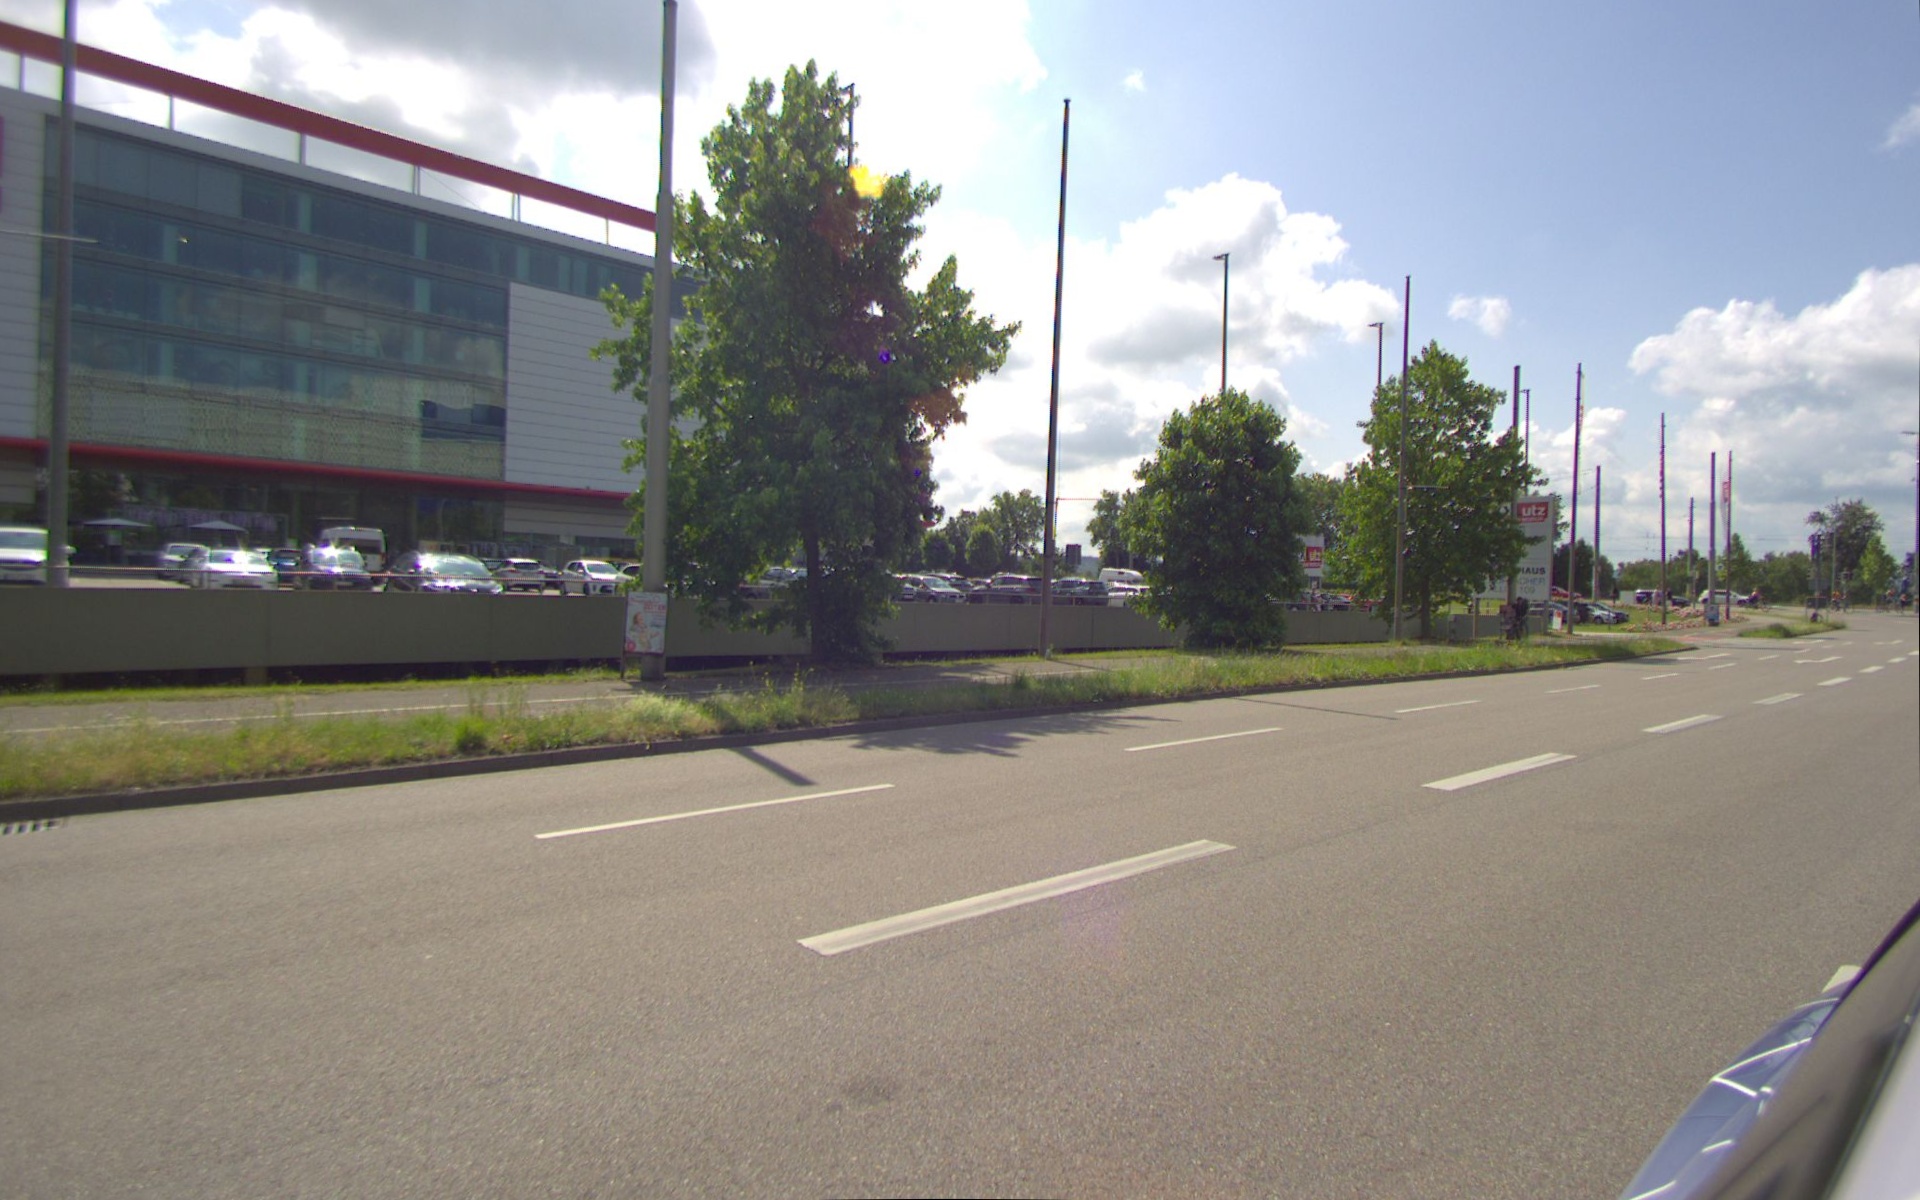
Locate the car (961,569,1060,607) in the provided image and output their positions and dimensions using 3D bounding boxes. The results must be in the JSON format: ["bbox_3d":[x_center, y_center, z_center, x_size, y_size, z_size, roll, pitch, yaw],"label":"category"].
[{"bbox_3d":[2.267,-0.576,46.593,1.996,1.594,4.365,1,1,-43],"label":"car"}]

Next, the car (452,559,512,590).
[{"bbox_3d":[-23.938,-1.249,50.622,1.601,1.438,3.993,1,-1,-42],"label":"car"}]

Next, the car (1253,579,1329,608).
[{"bbox_3d":[19.691,-0.415,60.297,1.666,1.608,4.020,2,-1,-43],"label":"car"}]

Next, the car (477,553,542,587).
[{"bbox_3d":[-20.684,-1.329,46.417,1.601,1.438,3.993,1,-1,-42],"label":"car"}]

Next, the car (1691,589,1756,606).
[{"bbox_3d":[69.537,-0.244,92.199,1.981,1.430,4.486,0,1,-44],"label":"car"}]

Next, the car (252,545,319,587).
[{"bbox_3d":[-26.729,-1.315,40.056,1.713,1.535,3.801,1,-1,-41],"label":"car"}]

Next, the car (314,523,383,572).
[{"bbox_3d":[-27.567,-2.293,45.559,1.965,1.976,3.993,1,-1,-41],"label":"car"}]

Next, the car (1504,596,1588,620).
[{"bbox_3d":[37.859,0.504,65.420,1.824,1.495,4.367,0,0,-40],"label":"car"}]

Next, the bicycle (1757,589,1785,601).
[{"bbox_3d":[65.720,-0.419,82.013,1.665,0.973,0.665,1,-1,2],"label":"bicycle"}]

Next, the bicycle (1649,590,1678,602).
[{"bbox_3d":[58.829,-0.354,84.616,1.974,0.973,0.589,1,-1,35],"label":"bicycle"}]

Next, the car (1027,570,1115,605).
[{"bbox_3d":[5.483,-0.656,50.291,1.735,1.572,4.188,1,1,-43],"label":"car"}]

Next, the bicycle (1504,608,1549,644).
[{"bbox_3d":[17.817,0.815,31.834,1.933,1.081,0.624,1,1,-42],"label":"bicycle"}]

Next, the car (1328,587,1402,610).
[{"bbox_3d":[27.716,-0.097,69.401,1.813,1.379,4.369,2,1,-40],"label":"car"}]

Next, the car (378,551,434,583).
[{"bbox_3d":[-26.559,-1.554,48.476,1.601,1.438,3.572,1,-1,-42],"label":"car"}]

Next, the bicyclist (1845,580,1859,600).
[{"bbox_3d":[70.808,-0.805,80.325,0.690,1.555,0.615,0,-1,27],"label":"bicyclist"}]

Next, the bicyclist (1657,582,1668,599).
[{"bbox_3d":[58.774,-0.802,84.661,0.683,1.342,0.585,0,-1,34],"label":"bicyclist"}]

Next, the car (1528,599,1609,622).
[{"bbox_3d":[41.258,0.659,68.653,1.824,1.434,4.366,0,1,-41],"label":"car"}]

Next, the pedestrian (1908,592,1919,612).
[{"bbox_3d":[72.553,0.134,76.919,0.460,1.543,0.586,0,-1,-33],"label":"pedestrian"}]

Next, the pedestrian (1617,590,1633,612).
[{"bbox_3d":[55.838,0.073,84.996,0.744,1.825,0.823,0,0,-15],"label":"pedestrian"}]

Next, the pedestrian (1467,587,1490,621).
[{"bbox_3d":[28.007,0.215,54.631,0.856,1.805,0.783,1,-1,5],"label":"pedestrian"}]

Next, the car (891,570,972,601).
[{"bbox_3d":[-1.475,-0.724,50.702,1.730,1.483,4.244,1,-1,-43],"label":"car"}]

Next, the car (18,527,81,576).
[{"bbox_3d":[-35.782,-1.864,39.813,1.719,1.727,3.747,1,-1,-42],"label":"car"}]

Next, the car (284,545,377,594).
[{"bbox_3d":[-20.624,-1.008,33.100,1.860,1.452,4.190,1,1,-42],"label":"car"}]

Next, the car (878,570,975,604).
[{"bbox_3d":[-1.501,-0.581,43.900,1.735,1.341,4.365,1,1,-43],"label":"car"}]

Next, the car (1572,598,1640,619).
[{"bbox_3d":[48.213,0.633,75.535,1.687,1.436,3.991,0,1,-43],"label":"car"}]

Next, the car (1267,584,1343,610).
[{"bbox_3d":[22.014,-0.194,64.691,1.597,1.460,4.369,2,1,-40],"label":"car"}]

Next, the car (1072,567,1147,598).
[{"bbox_3d":[15.622,-1.874,106.260,3.066,3.193,7.899,0,1,-39],"label":"car"}]

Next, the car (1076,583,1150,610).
[{"bbox_3d":[9.217,-0.220,61.245,1.728,1.446,4.297,3,-1,-41],"label":"car"}]

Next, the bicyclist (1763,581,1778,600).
[{"bbox_3d":[65.706,-0.747,82.024,0.729,1.494,0.651,1,-1,1],"label":"bicyclist"}]

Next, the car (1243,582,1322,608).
[{"bbox_3d":[20.058,-0.313,63.042,1.813,1.379,4.369,2,1,-40],"label":"car"}]

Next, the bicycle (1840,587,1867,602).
[{"bbox_3d":[70.860,-0.433,80.291,1.491,1.180,0.615,1,-1,28],"label":"bicycle"}]

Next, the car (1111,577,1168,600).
[{"bbox_3d":[13.832,-0.910,78.127,1.964,1.760,3.996,0,1,-39],"label":"car"}]

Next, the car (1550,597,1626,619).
[{"bbox_3d":[44.897,0.544,72.415,1.765,1.458,4.366,0,1,-41],"label":"car"}]

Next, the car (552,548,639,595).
[{"bbox_3d":[-14.618,-1.101,40.438,1.965,1.742,3.994,1,-1,-41],"label":"car"}]

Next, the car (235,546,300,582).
[{"bbox_3d":[-30.173,-1.532,44.030,1.877,1.452,3.801,1,-1,-41],"label":"car"}]

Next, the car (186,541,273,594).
[{"bbox_3d":[-22.264,-1.004,30.784,1.696,1.452,4.190,1,1,-42],"label":"car"}]

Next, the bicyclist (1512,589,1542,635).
[{"bbox_3d":[17.844,0.382,31.850,0.702,1.431,0.616,1,0,-41],"label":"bicyclist"}]

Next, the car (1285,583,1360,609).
[{"bbox_3d":[23.695,-0.257,66.241,1.652,1.527,4.369,1,2,-40],"label":"car"}]

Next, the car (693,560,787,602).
[{"bbox_3d":[-8.973,-0.752,41.058,1.967,1.591,3.990,0,0,-44],"label":"car"}]

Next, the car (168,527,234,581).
[{"bbox_3d":[-28.673,-1.673,38.192,1.743,1.861,3.892,1,-1,-40],"label":"car"}]

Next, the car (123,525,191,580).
[{"bbox_3d":[-33.126,-1.905,41.707,1.965,2.039,3.993,1,-1,-41],"label":"car"}]

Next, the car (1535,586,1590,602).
[{"bbox_3d":[56.839,-0.612,95.508,4.237,1.377,1.721,3,3,44],"label":"car"}]

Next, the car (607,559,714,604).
[{"bbox_3d":[-10.571,-0.665,35.605,1.862,1.406,4.187,1,1,-44],"label":"car"}]

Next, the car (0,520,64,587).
[{"bbox_3d":[-23.227,-1.099,24.878,1.718,1.534,3.991,-1,1,-43],"label":"car"}]

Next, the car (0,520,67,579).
[{"bbox_3d":[-32.631,-1.723,35.592,1.744,1.861,3.891,1,-1,-41],"label":"car"}]

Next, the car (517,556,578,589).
[{"bbox_3d":[-21.559,-1.409,52.789,1.772,1.638,3.994,1,-1,-41],"label":"car"}]

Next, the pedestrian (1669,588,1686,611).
[{"bbox_3d":[58.218,-0.034,82.088,0.864,1.787,0.849,6,0,45],"label":"pedestrian"}]

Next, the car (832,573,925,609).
[{"bbox_3d":[-3.431,-0.401,42.105,1.659,1.341,4.191,1,2,-41],"label":"car"}]
